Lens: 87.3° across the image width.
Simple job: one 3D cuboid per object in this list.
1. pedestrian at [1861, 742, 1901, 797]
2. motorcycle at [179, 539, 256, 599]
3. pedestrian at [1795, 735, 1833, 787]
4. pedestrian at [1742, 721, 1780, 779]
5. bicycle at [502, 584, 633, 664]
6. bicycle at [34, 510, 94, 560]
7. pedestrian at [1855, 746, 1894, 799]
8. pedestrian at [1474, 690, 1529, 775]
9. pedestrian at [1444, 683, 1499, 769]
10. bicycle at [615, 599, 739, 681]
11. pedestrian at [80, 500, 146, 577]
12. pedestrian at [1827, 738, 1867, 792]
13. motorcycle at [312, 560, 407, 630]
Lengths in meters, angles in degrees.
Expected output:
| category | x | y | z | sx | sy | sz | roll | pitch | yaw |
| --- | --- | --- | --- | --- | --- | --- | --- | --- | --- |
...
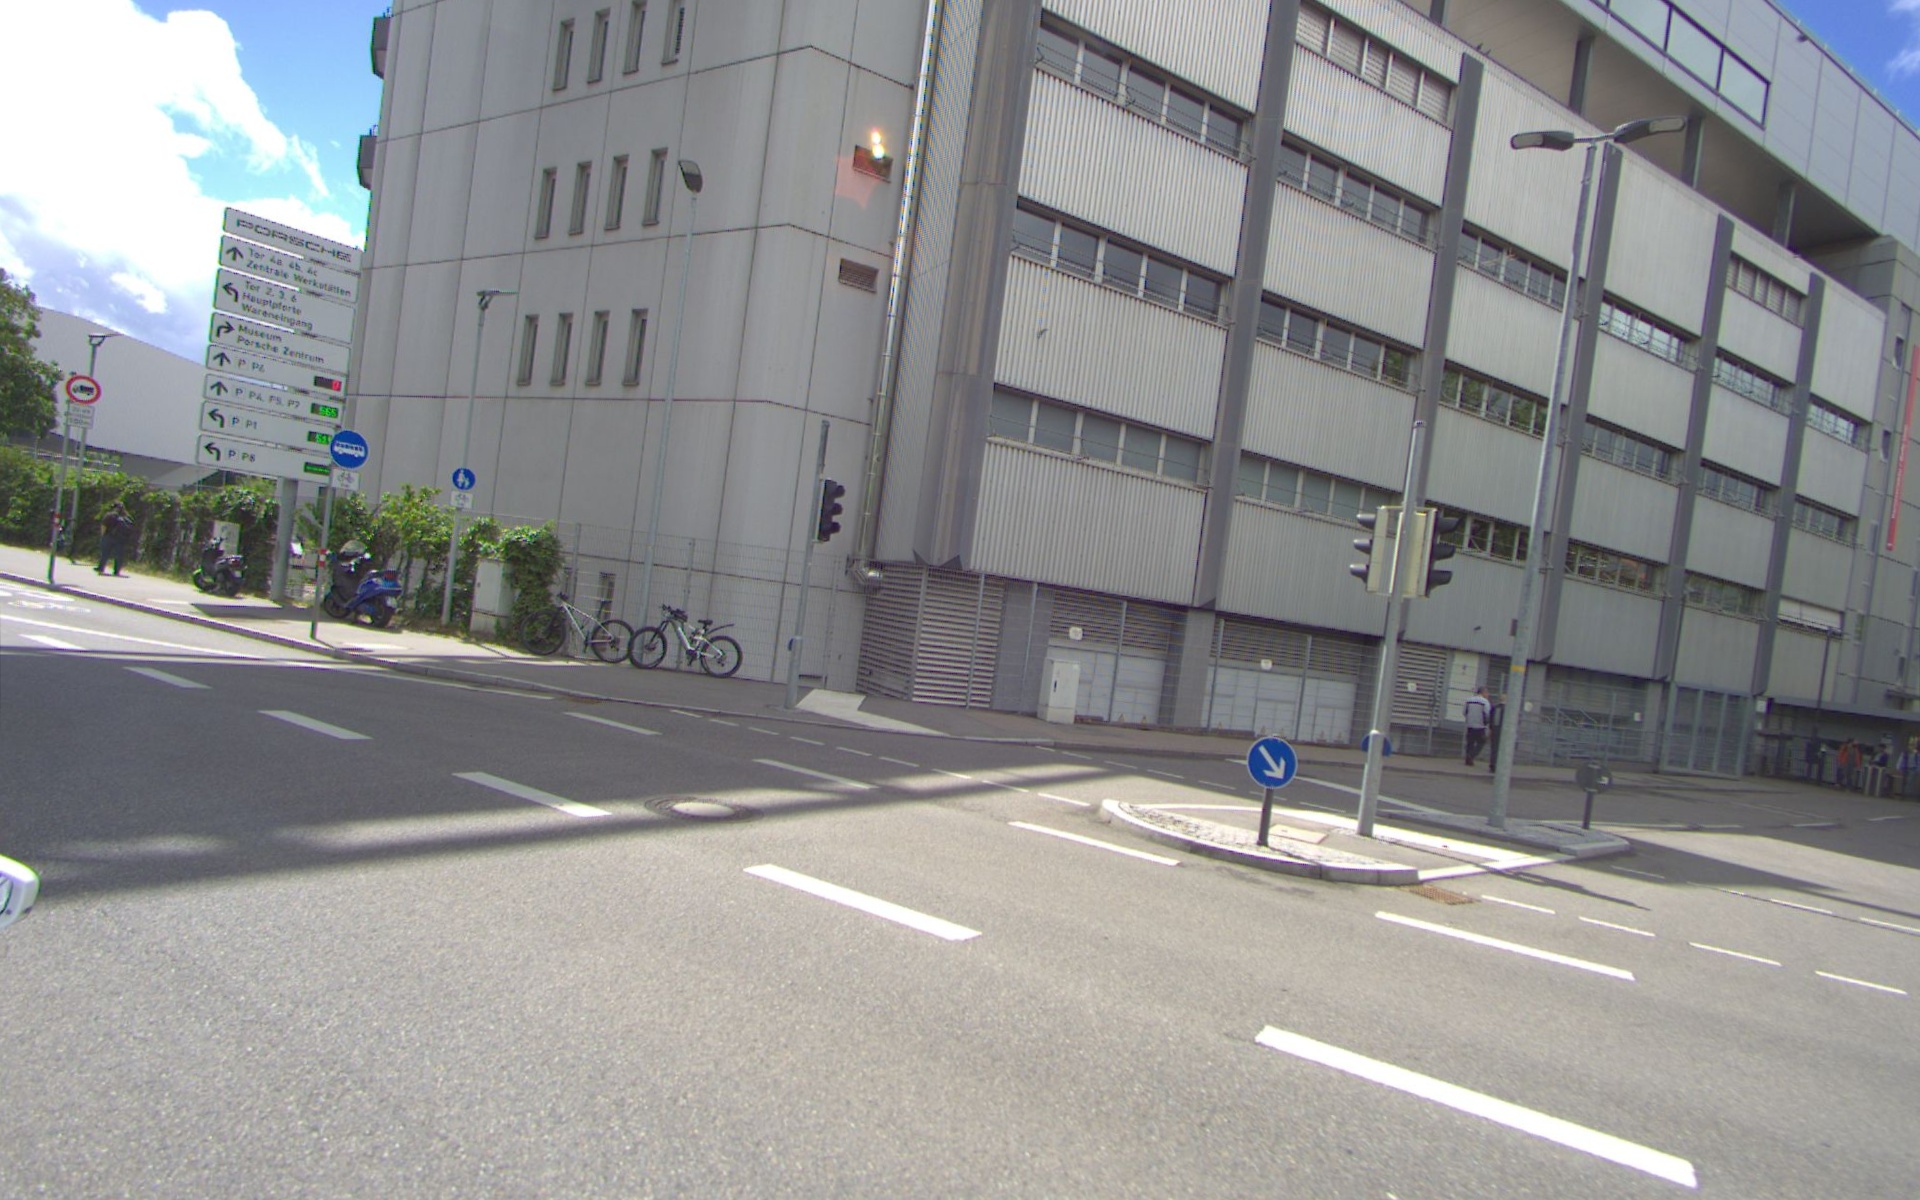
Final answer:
| category | x | y | z | sx | sy | sz | roll | pitch | yaw |
| --- | --- | --- | --- | --- | --- | --- | --- | --- | --- |
| pedestrian | 31.356 | 5.764 | 34.240 | 0.739 | 1.712 | 0.748 | 8 | -1 | -36 |
| motorcycle | -16.083 | -0.682 | 21.778 | 2.003 | 1.081 | 0.591 | 7 | 1 | 32 |
| pedestrian | 30.258 | 5.706 | 35.638 | 0.739 | 1.712 | 0.748 | 8 | -1 | -36 |
| pedestrian | 28.388 | 5.315 | 35.652 | 0.739 | 1.911 | 0.748 | 8 | -1 | -36 |
| bicycle | -6.623 | 0.415 | 16.997 | 1.944 | 1.142 | 0.542 | 6 | 2 | -24 |
| bicycle | -24.549 | -1.792 | 27.555 | 2.428 | 1.193 | 0.444 | 6 | -1 | 32 |
| pedestrian | 32.222 | 6.084 | 35.435 | 0.739 | 1.712 | 0.748 | 8 | -1 | -36 |
| pedestrian | 11.885 | 2.898 | 22.086 | 0.737 | 1.743 | 0.613 | 8 | -1 | -30 |
| pedestrian | 11.526 | 2.832 | 22.684 | 0.737 | 1.800 | 0.632 | 8 | -1 | -30 |
| bicycle | -4.774 | 0.676 | 16.991 | 1.863 | 1.142 | 0.542 | 7 | 1 | -24 |
| pedestrian | -19.919 | -1.448 | 23.663 | 0.981 | 1.666 | 0.810 | 7 | 1 | 30 |
| pedestrian | 30.296 | 5.634 | 34.367 | 0.739 | 1.712 | 0.748 | 8 | -1 | -36 |
| motorcycle | -11.082 | -0.101 | 18.548 | 2.003 | 1.081 | 0.591 | 7 | 2 | 32 |
